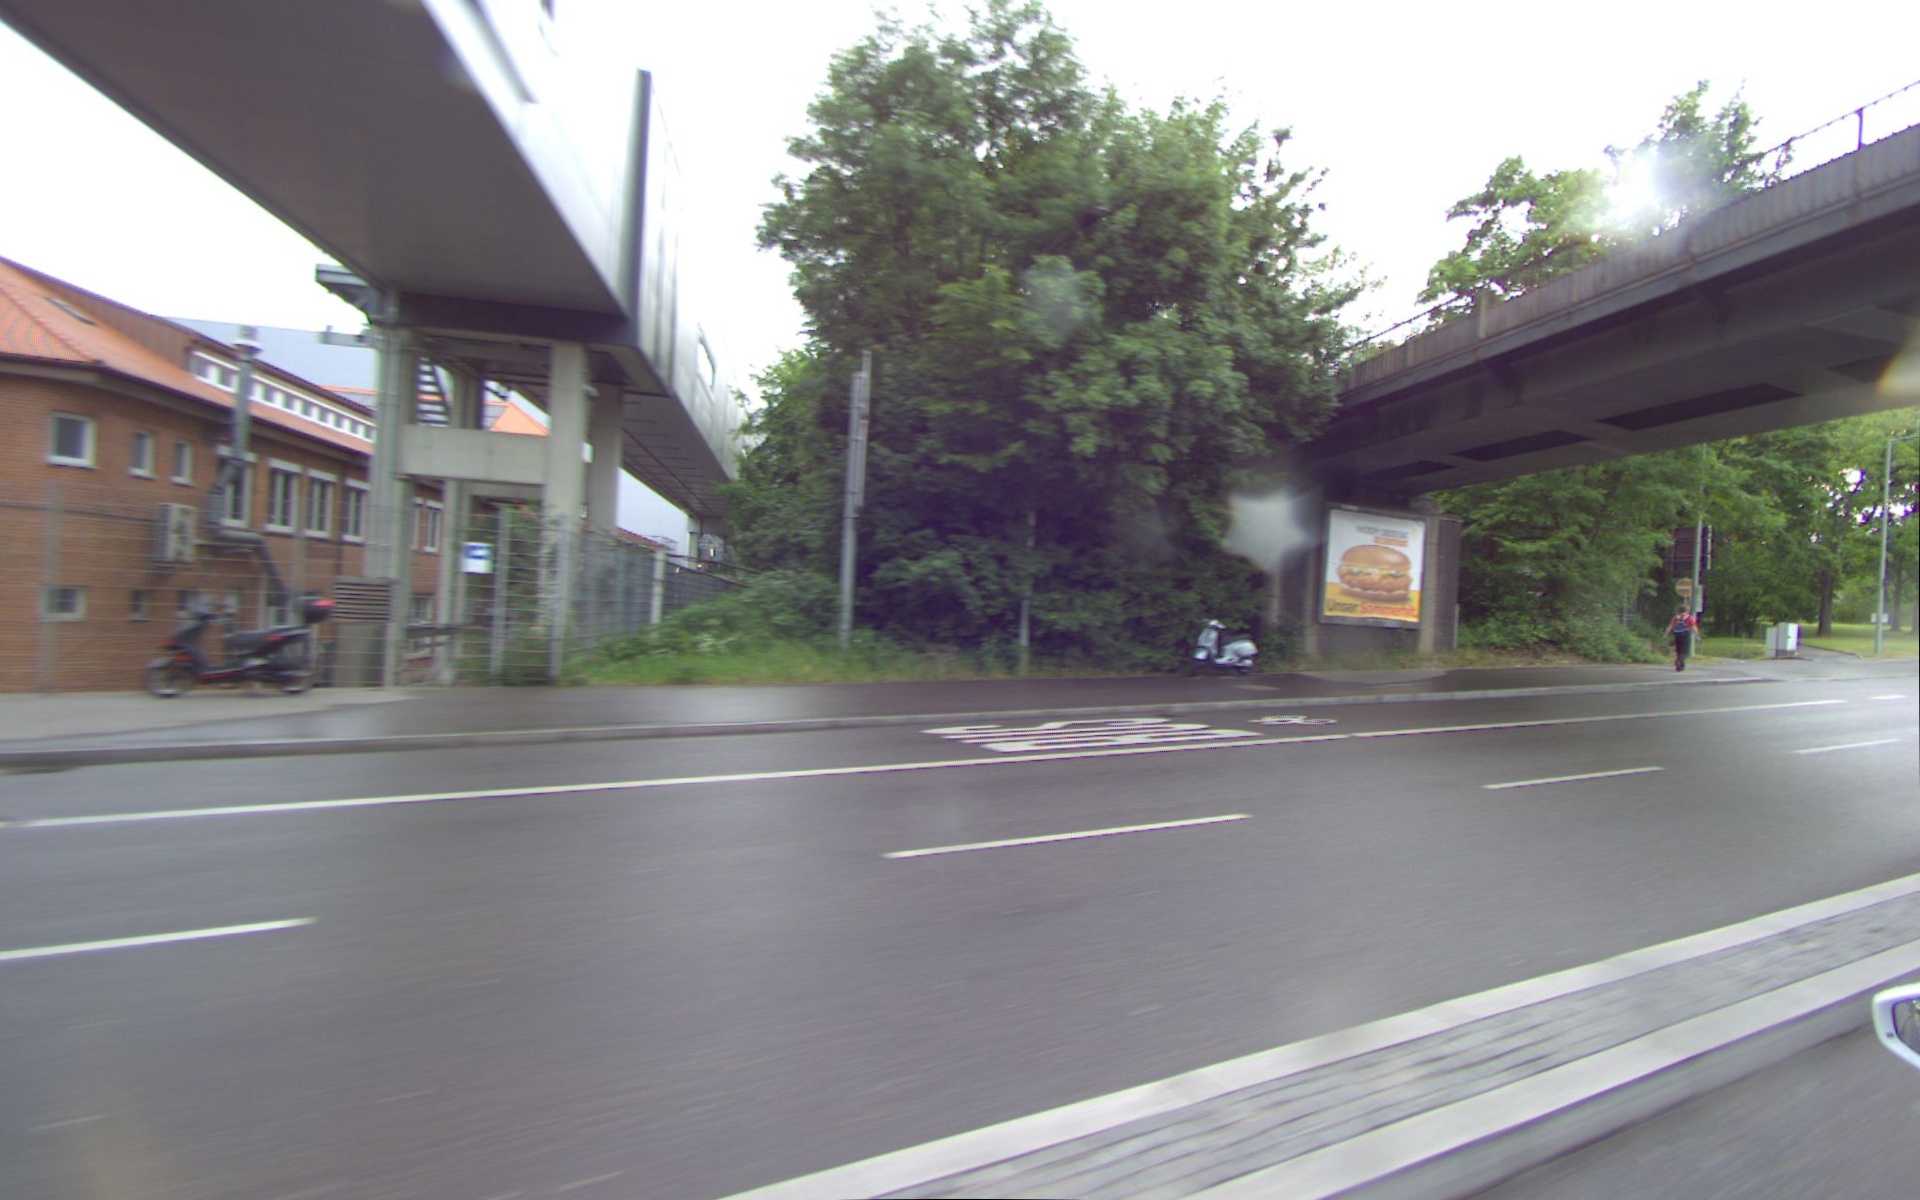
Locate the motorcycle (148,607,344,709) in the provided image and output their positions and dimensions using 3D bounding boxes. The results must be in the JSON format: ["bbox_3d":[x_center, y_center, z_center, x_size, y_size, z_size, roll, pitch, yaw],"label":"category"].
[{"bbox_3d":[-9.014,0.714,12.777,1.972,1.221,0.466,1,0,-29],"label":"motorcycle"}]

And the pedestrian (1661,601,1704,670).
[{"bbox_3d":[19.394,0.949,26.959,0.786,1.840,0.519,1,1,-18],"label":"pedestrian"}]

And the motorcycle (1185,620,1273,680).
[{"bbox_3d":[5.532,1.013,20.626,1.906,1.174,0.467,1,0,-25],"label":"motorcycle"}]
